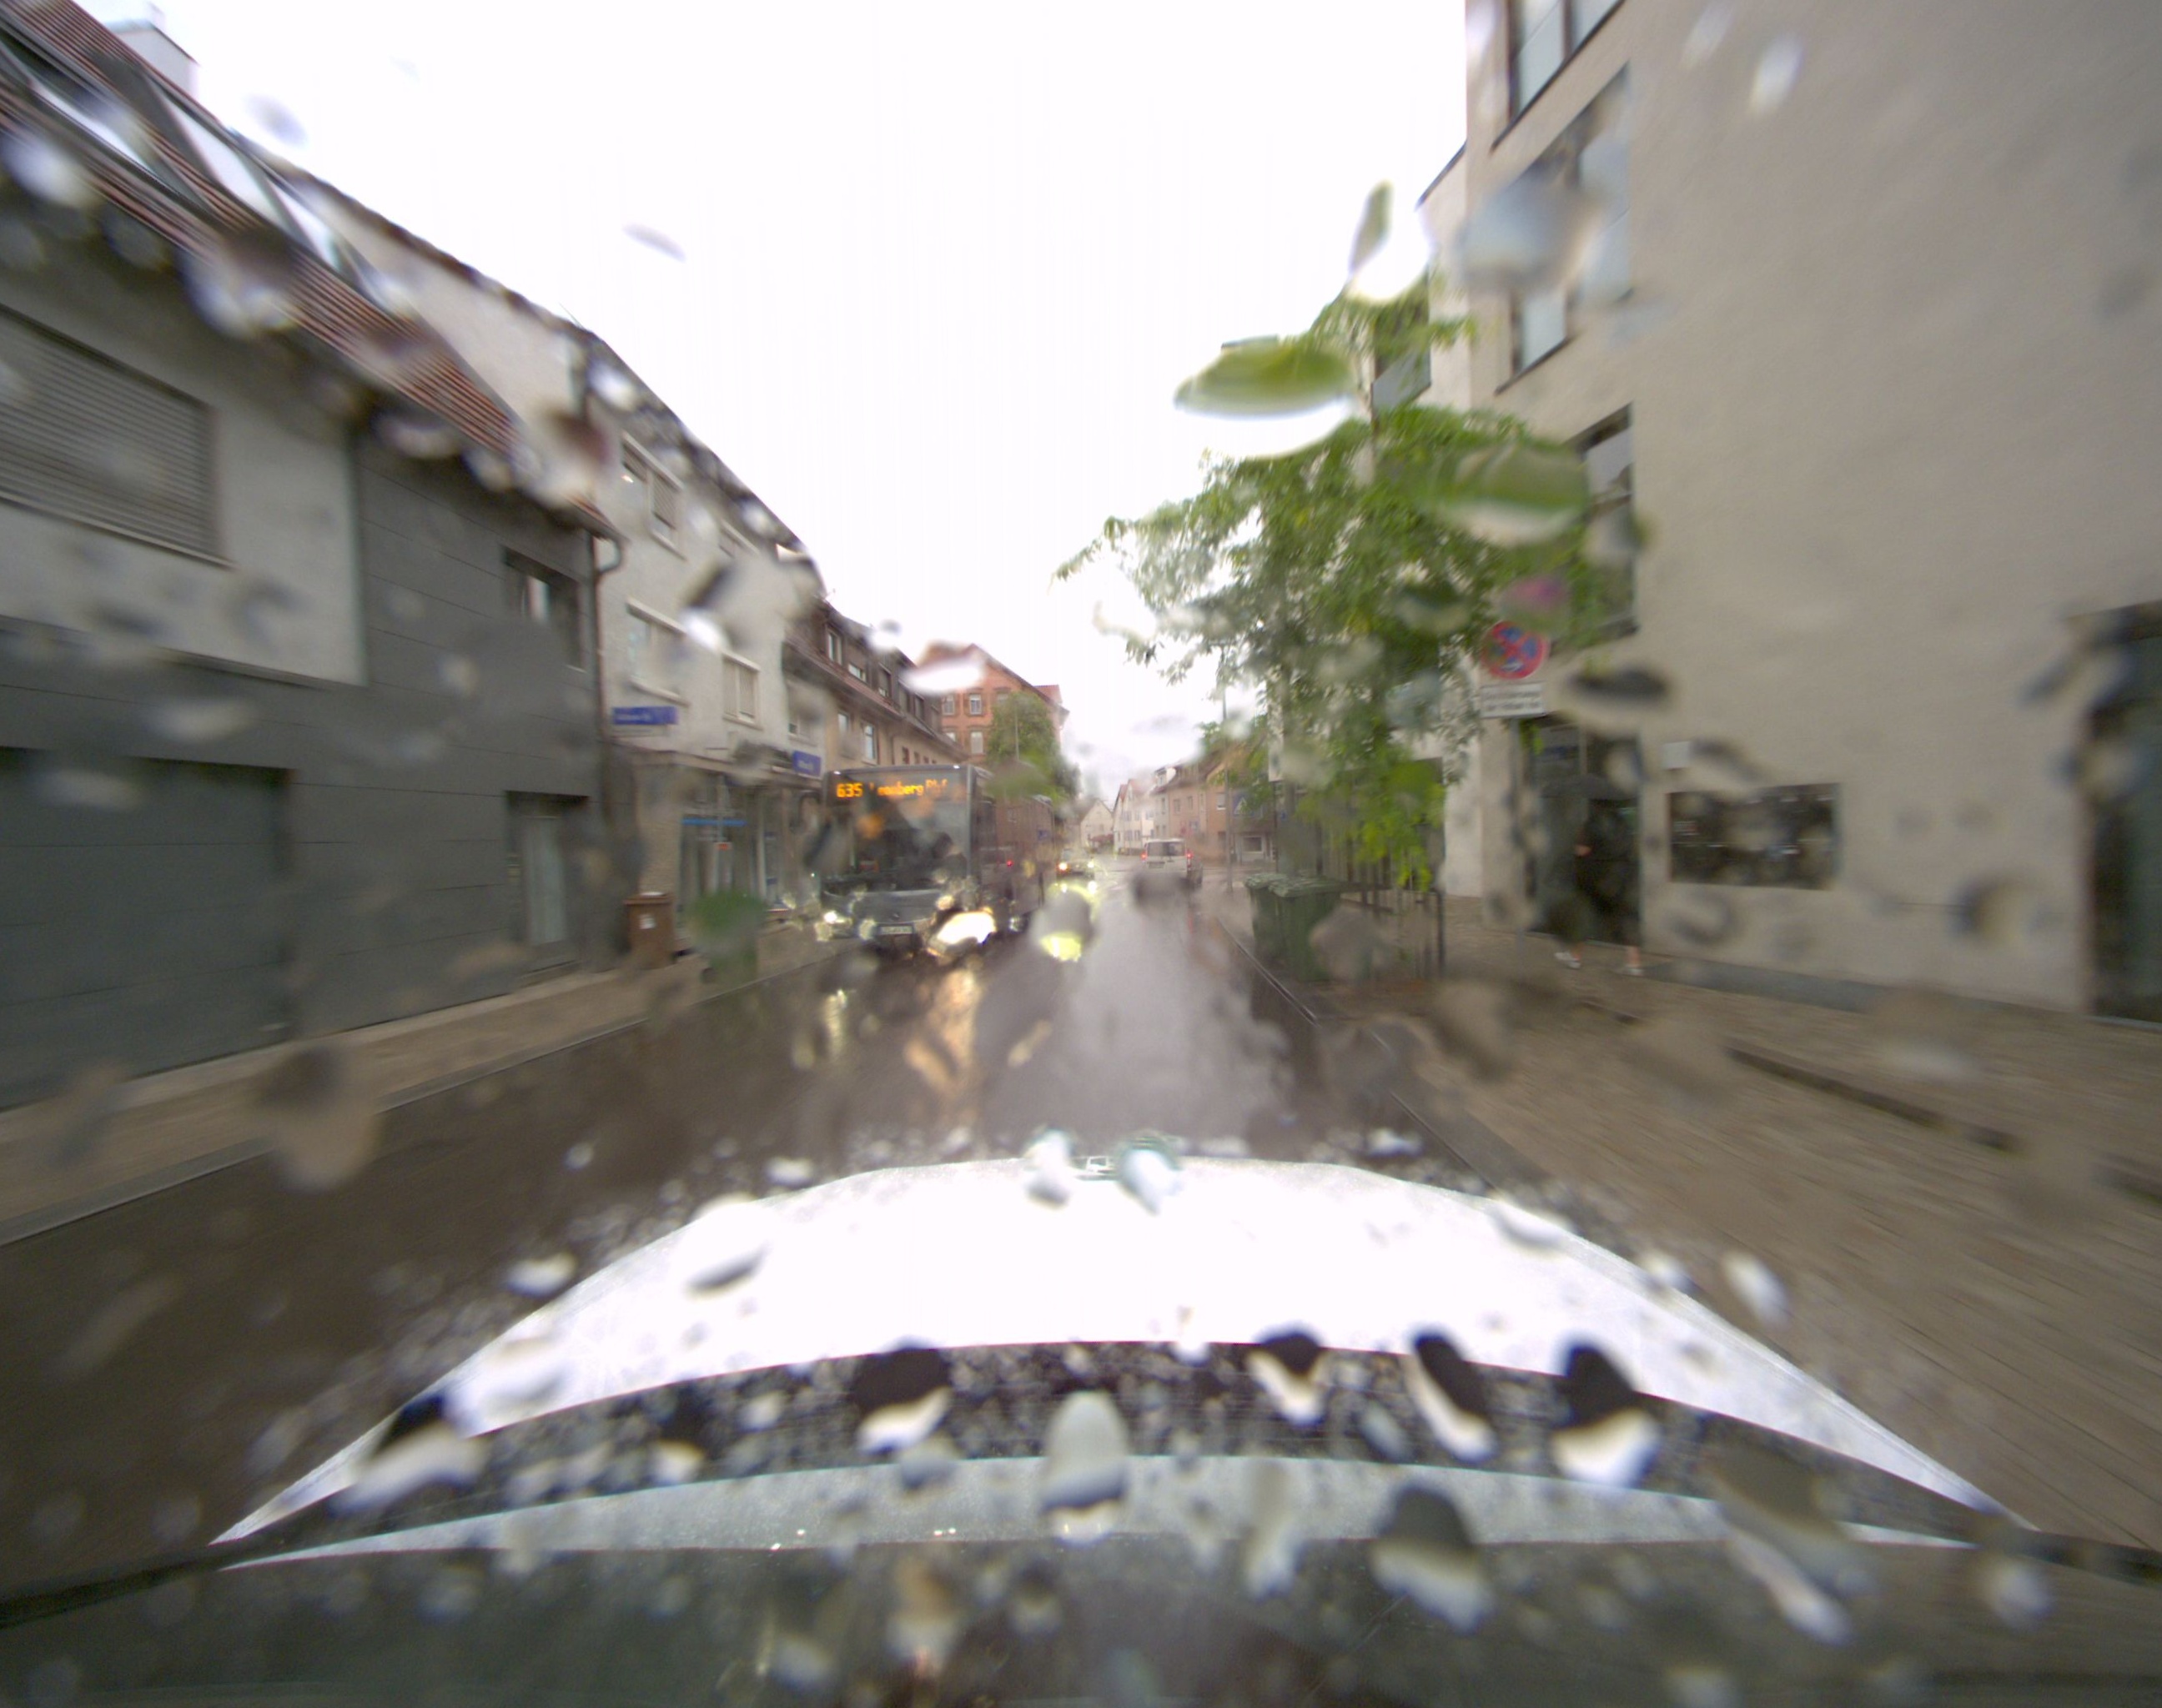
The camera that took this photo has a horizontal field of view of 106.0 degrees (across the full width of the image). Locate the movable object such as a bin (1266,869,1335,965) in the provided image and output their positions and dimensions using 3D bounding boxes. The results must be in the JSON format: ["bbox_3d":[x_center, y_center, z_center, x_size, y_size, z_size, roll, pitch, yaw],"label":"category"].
[{"bbox_3d":[2.823,0.797,10.537,0.747,1.171,0.632,-3,-1,8],"label":"movable object such as a bin"}]

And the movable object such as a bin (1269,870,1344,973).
[{"bbox_3d":[2.722,0.799,9.879,0.747,1.171,0.632,-3,-1,8],"label":"movable object such as a bin"}]

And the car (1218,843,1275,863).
[{"bbox_3d":[13.062,-0.035,64.475,3.988,1.486,1.993,-1,-1,-11],"label":"car"}]

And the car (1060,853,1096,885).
[{"bbox_3d":[-0.111,0.705,41.310,1.659,1.430,4.469,-1,1,1],"label":"car"}]

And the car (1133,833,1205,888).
[{"bbox_3d":[3.452,0.259,31.065,2.138,1.899,4.942,-1,-1,13],"label":"car"}]

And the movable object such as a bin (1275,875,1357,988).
[{"bbox_3d":[2.592,0.843,9.051,0.747,1.171,0.632,-3,-1,8],"label":"movable object such as a bin"}]

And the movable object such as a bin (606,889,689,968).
[{"bbox_3d":[-6.207,1.057,11.691,0.790,1.059,0.702,-1,0,0],"label":"movable object such as a bin"}]

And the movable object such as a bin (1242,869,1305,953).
[{"bbox_3d":[2.685,0.780,11.420,0.758,1.118,0.625,-1,0,5],"label":"movable object such as a bin"}]

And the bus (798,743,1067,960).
[{"bbox_3d":[-2.250,-0.062,17.235,2.710,3.080,10.962,-1,0,5],"label":"bus"}]

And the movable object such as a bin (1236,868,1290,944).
[{"bbox_3d":[2.806,0.791,12.616,0.720,1.118,0.577,-1,0,5],"label":"movable object such as a bin"}]

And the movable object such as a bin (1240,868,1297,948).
[{"bbox_3d":[2.760,0.786,12.030,0.720,1.118,0.577,-1,0,5],"label":"movable object such as a bin"}]

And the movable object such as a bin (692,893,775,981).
[{"bbox_3d":[-4.507,1.060,10.604,0.738,1.059,0.726,-1,0,1],"label":"movable object such as a bin"}]

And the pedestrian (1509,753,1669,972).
[{"bbox_3d":[4.992,0.085,8.091,0.864,2.014,1.082,-1,-1,0],"label":"pedestrian"}]
